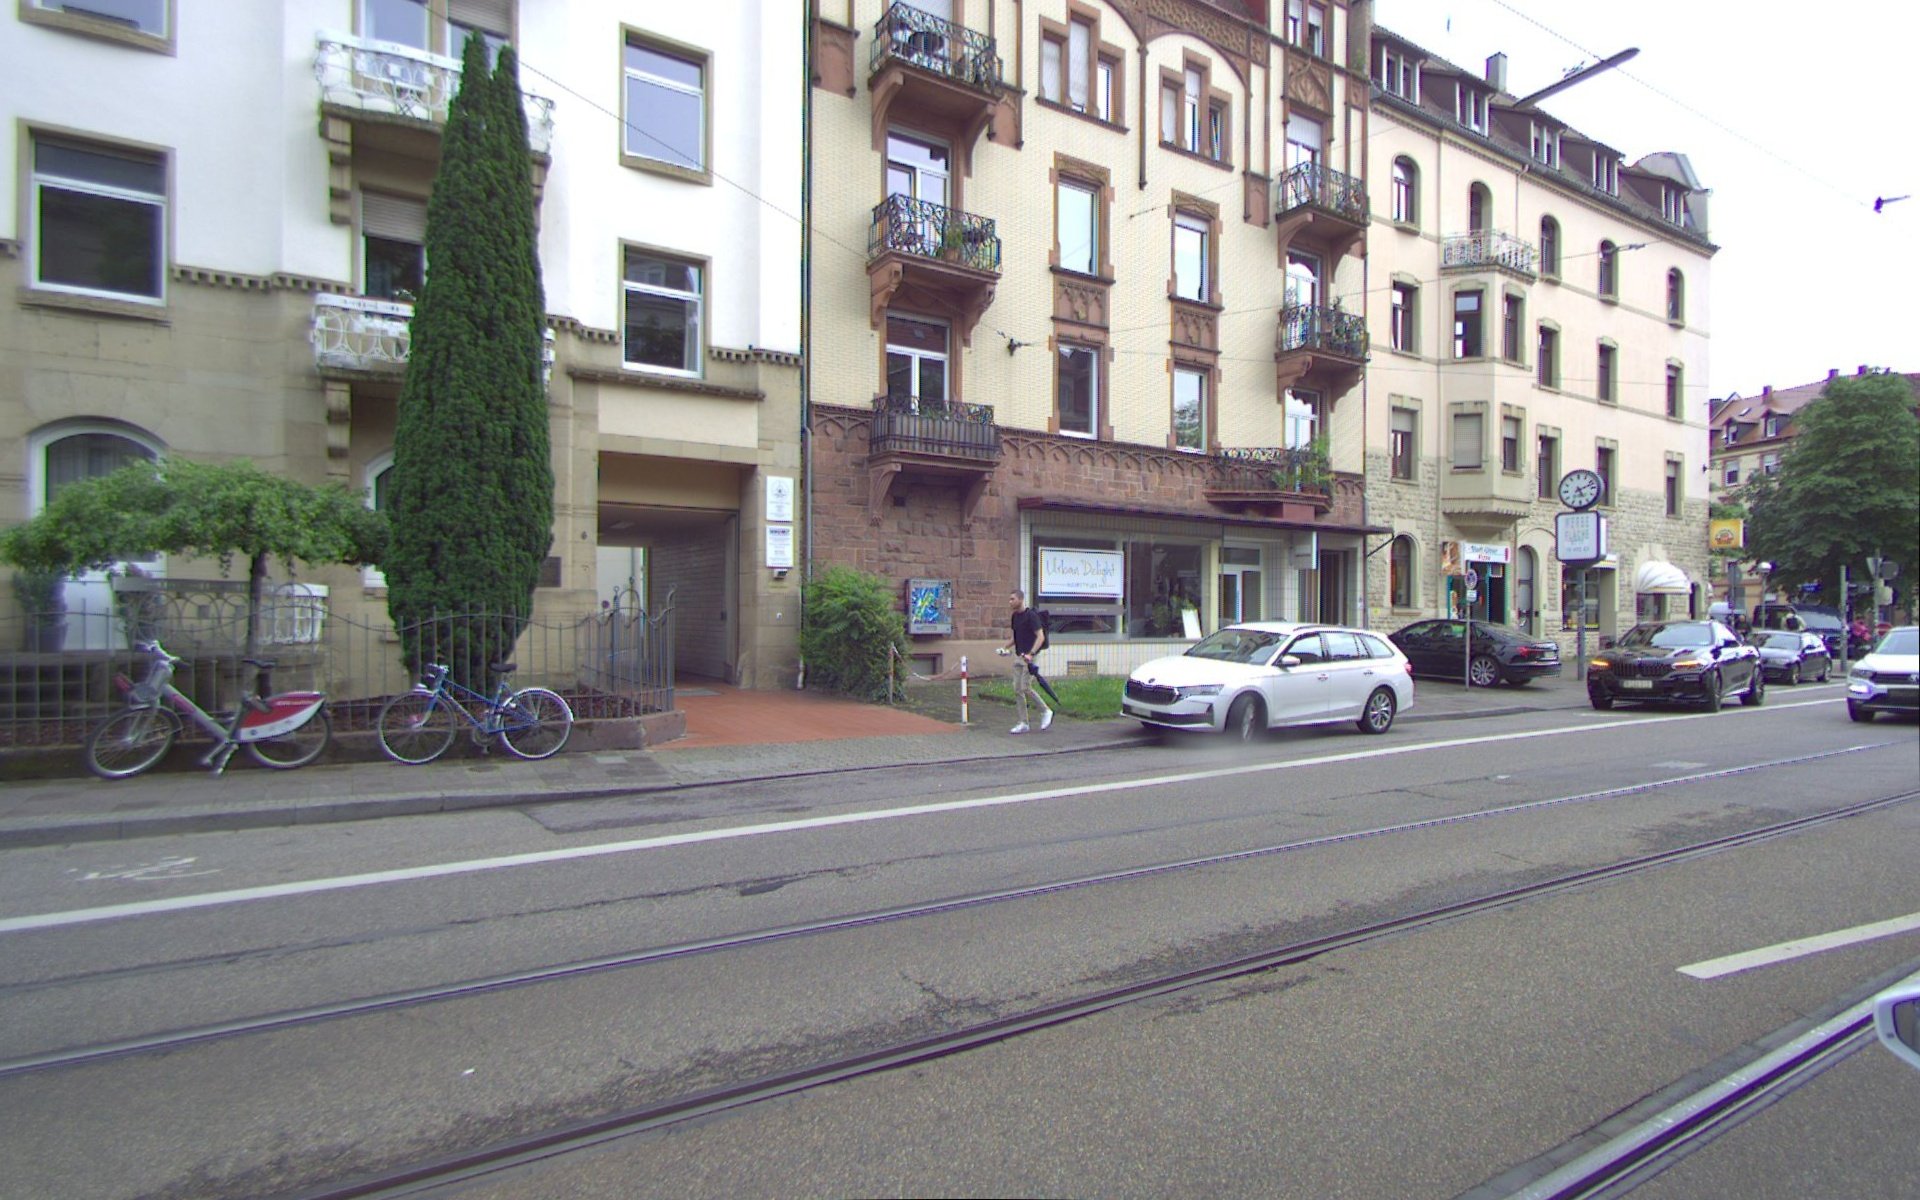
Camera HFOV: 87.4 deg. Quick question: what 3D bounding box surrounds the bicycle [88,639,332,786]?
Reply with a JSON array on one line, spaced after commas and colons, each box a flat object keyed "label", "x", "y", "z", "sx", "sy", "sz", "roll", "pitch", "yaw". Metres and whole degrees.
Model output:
[{"label": "bicycle", "x": -6.270, "y": 0.896, "z": 8.464, "sx": 1.614, "sy": 1.116, "sz": 0.381, "roll": 1, "pitch": -1, "yaw": -43}]

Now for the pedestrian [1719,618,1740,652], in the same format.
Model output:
[{"label": "pedestrian", "x": 39.525, "y": 1.772, "z": 51.591, "sx": 0.686, "sy": 1.738, "sz": 0.552, "roll": 0, "pitch": -1, "yaw": 19}]

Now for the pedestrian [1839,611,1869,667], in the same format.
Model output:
[{"label": "pedestrian", "x": 29.894, "y": 1.301, "z": 33.578, "sx": 0.603, "sy": 1.867, "sz": 0.619, "roll": 1, "pitch": -1, "yaw": -34}]

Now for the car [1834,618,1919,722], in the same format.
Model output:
[{"label": "car", "x": 15.664, "y": 1.063, "z": 15.995, "sx": 3.890, "sy": 1.516, "sz": 1.688, "roll": 1, "pitch": -2, "yaw": -34}]

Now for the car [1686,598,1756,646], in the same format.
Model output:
[{"label": "car", "x": 42.330, "y": 1.201, "z": 55.992, "sx": 2.145, "sy": 2.561, "sz": 5.375, "roll": 0, "pitch": -1, "yaw": 26}]

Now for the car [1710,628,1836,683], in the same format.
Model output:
[{"label": "car", "x": 22.931, "y": 1.515, "z": 28.291, "sx": 4.087, "sy": 1.380, "sz": 1.638, "roll": 1, "pitch": 1, "yaw": -34}]

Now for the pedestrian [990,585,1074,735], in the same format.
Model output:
[{"label": "pedestrian", "x": 0.940, "y": 0.762, "z": 13.071, "sx": 0.873, "sy": 1.868, "sz": 0.664, "roll": 1, "pitch": -1, "yaw": -33}]

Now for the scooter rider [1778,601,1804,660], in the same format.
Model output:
[{"label": "scooter rider", "x": 29.219, "y": 1.078, "z": 35.330, "sx": 0.633, "sy": 2.040, "sz": 0.755, "roll": 0, "pitch": -1, "yaw": 35}]

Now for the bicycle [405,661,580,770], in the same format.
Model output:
[{"label": "bicycle", "x": -4.493, "y": 1.088, "z": 9.706, "sx": 1.498, "sy": 0.950, "sz": 0.330, "roll": 1, "pitch": -1, "yaw": -33}]

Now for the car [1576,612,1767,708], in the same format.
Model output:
[{"label": "car", "x": 13.912, "y": 1.129, "z": 19.531, "sx": 4.848, "sy": 1.632, "sz": 1.867, "roll": 2, "pitch": -4, "yaw": -41}]

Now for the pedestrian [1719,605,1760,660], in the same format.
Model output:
[{"label": "pedestrian", "x": 29.147, "y": 1.212, "z": 37.548, "sx": 0.826, "sy": 2.040, "sz": 0.969, "roll": 1, "pitch": -1, "yaw": -32}]

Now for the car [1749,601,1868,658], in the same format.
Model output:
[{"label": "car", "x": 38.723, "y": 1.318, "z": 46.050, "sx": 2.142, "sy": 2.449, "sz": 5.383, "roll": 0, "pitch": -1, "yaw": 16}]

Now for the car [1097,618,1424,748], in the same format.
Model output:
[{"label": "car", "x": 4.160, "y": 1.003, "z": 13.624, "sx": 4.559, "sy": 1.504, "sz": 1.737, "roll": 1, "pitch": -1, "yaw": -33}]

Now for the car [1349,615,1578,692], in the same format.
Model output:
[{"label": "car", "x": 11.582, "y": 1.164, "z": 23.396, "sx": 1.862, "sy": 1.389, "sz": 4.394, "roll": 1, "pitch": 2, "yaw": -35}]
